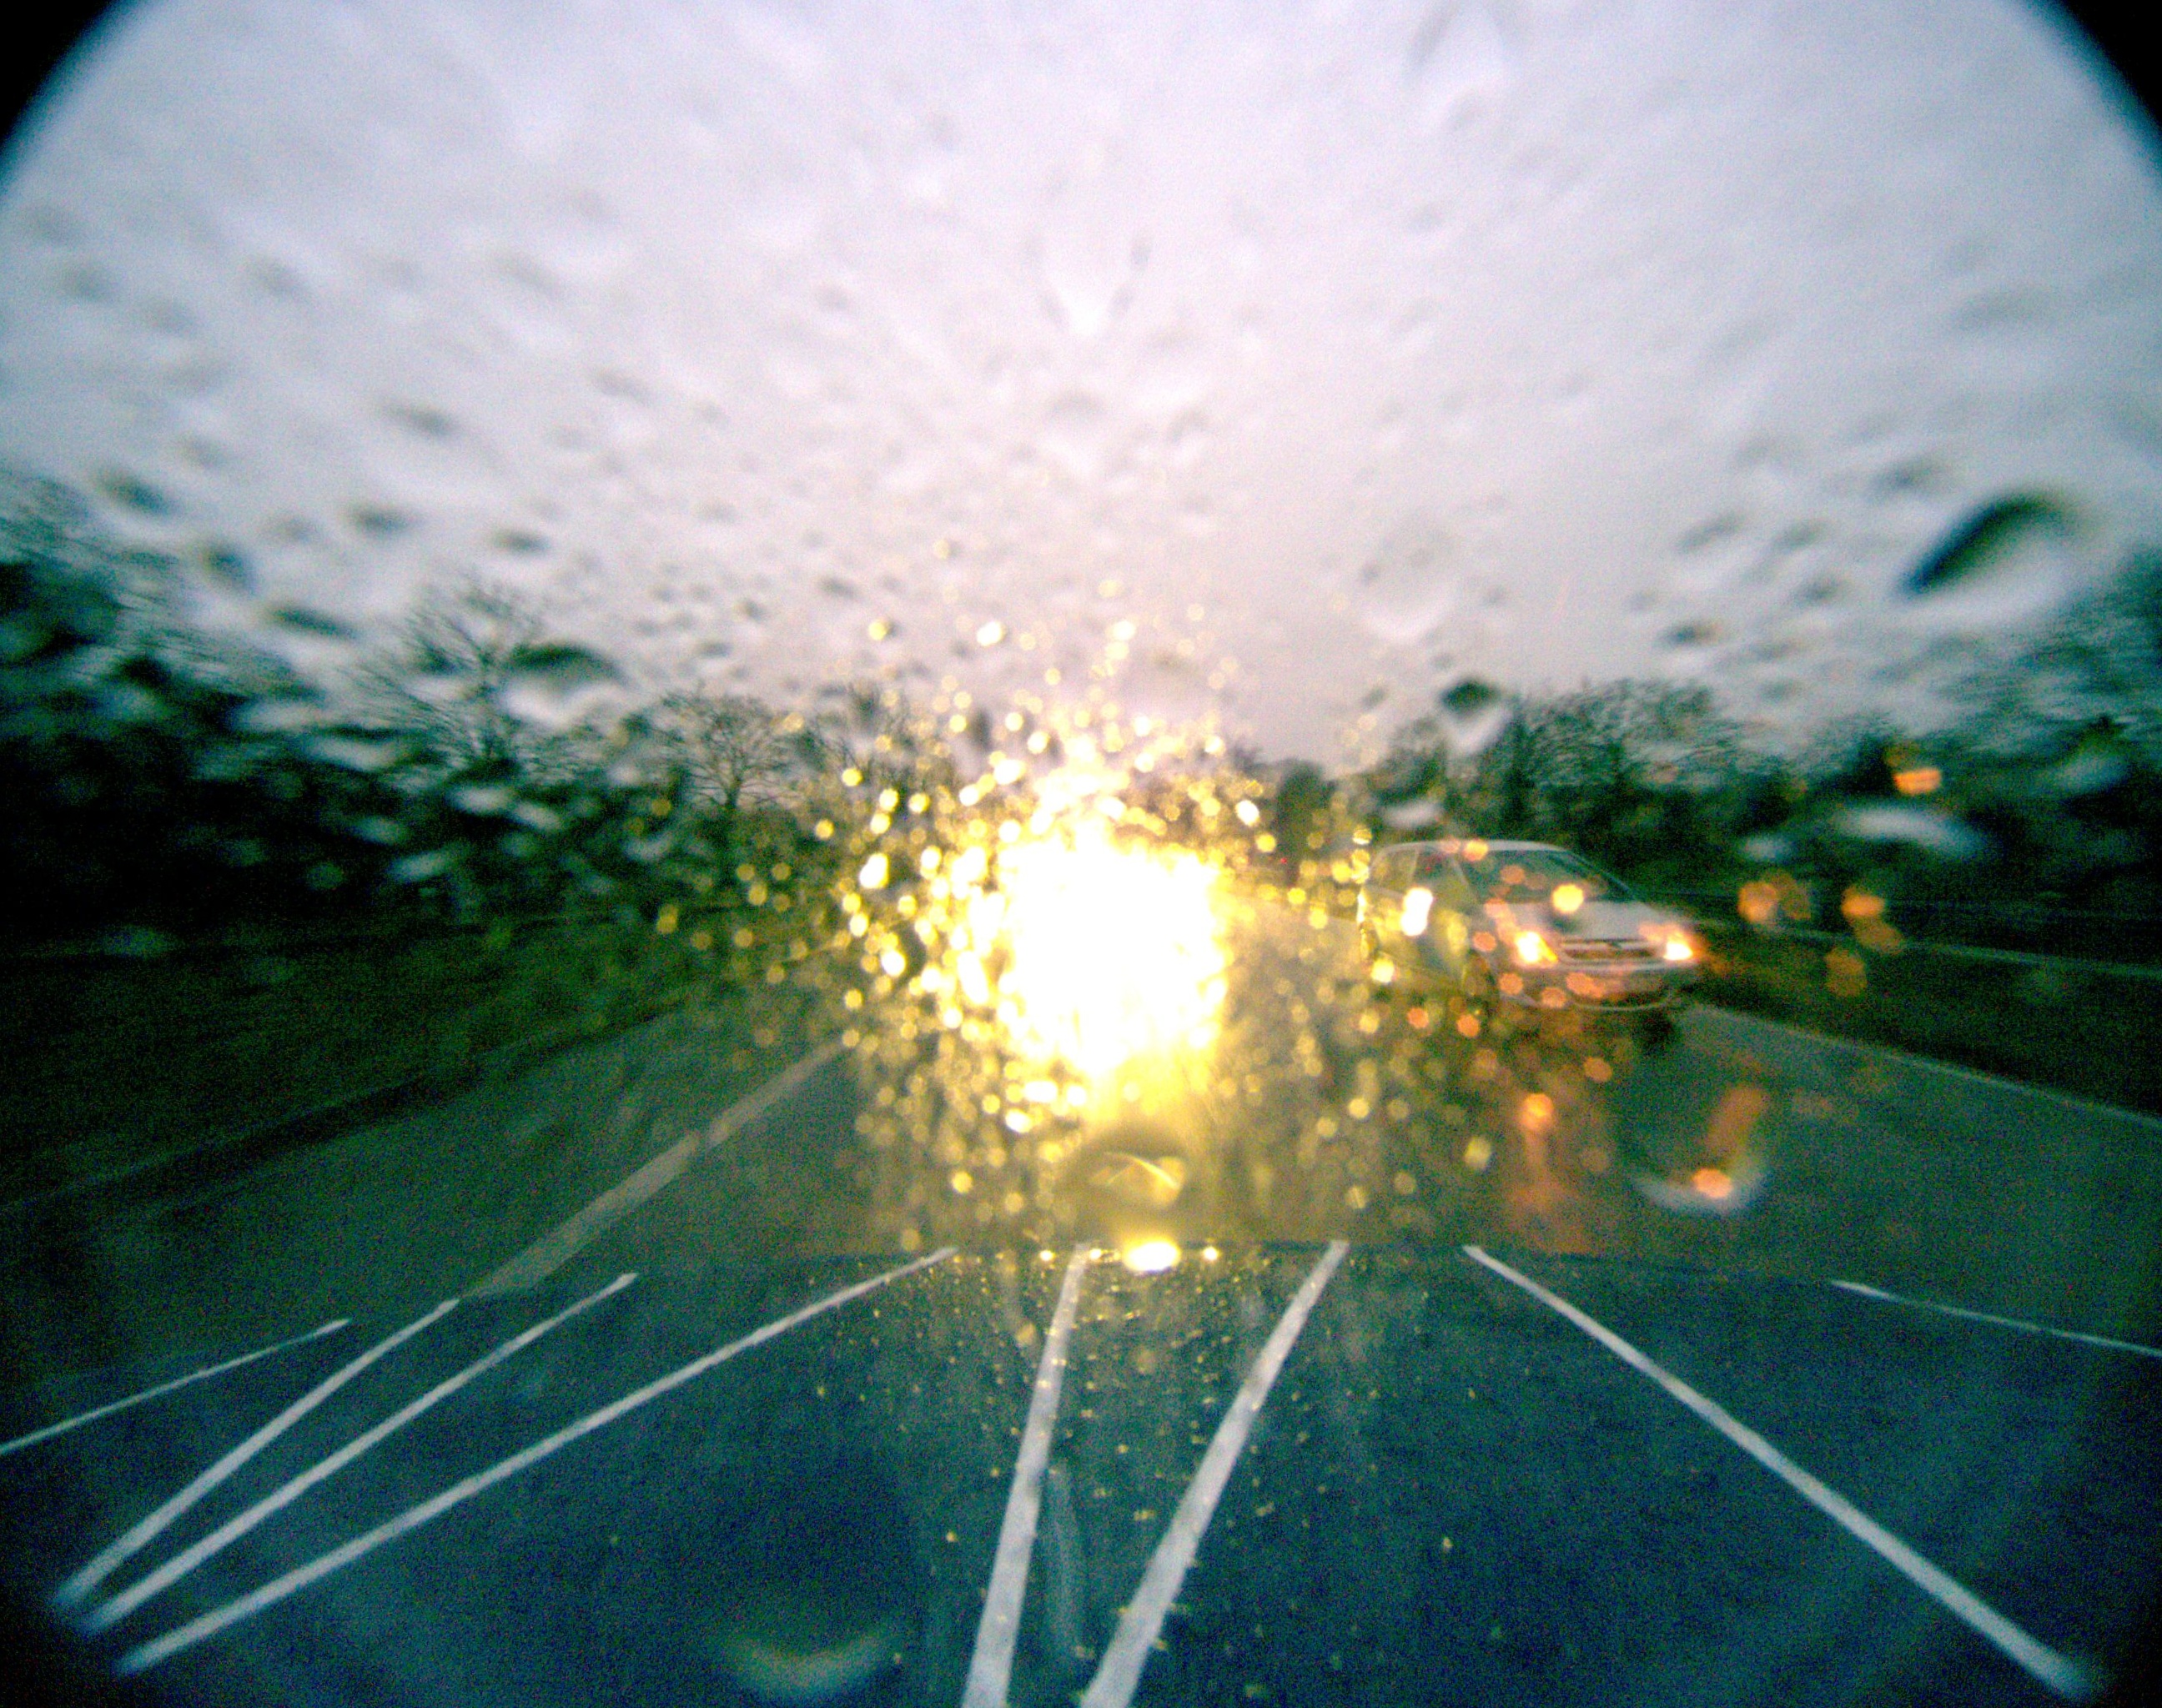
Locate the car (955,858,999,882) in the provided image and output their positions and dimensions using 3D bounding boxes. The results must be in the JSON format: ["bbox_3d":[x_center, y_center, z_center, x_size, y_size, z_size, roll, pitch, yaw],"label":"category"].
[{"bbox_3d":[-6.935,1.056,51.084,1.726,1.426,3.794,-1,1,12],"label":"car"}]

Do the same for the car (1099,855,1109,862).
[{"bbox_3d":[5.403,1.103,177.375,1.999,1.605,3.999,-1,0,-2],"label":"car"}]

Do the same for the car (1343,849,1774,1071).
[{"bbox_3d":[4.226,0.772,7.670,1.766,1.590,4.164,-1,1,1],"label":"car"}]

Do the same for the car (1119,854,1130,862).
[{"bbox_3d":[8.488,0.787,148.292,1.998,1.605,4.000,-1,0,1],"label":"car"}]

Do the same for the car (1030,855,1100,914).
[{"bbox_3d":[-0.388,0.839,22.836,1.830,1.524,4.000,-1,1,3],"label":"car"}]

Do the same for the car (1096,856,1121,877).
[{"bbox_3d":[2.234,0.995,63.231,1.852,1.610,3.950,-2,1,-1],"label":"car"}]

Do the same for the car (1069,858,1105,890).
[{"bbox_3d":[0.358,1.020,40.565,1.728,1.573,3.791,-1,1,3],"label":"car"}]

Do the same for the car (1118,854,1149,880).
[{"bbox_3d":[3.083,0.747,45.422,1.697,1.327,4.000,-2,1,2],"label":"car"}]

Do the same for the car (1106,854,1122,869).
[{"bbox_3d":[3.905,0.831,90.091,1.852,1.610,3.951,-2,1,2],"label":"car"}]

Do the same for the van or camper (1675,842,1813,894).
[{"bbox_3d":[24.713,0.468,28.547,1.653,1.773,4.208,-1,1,3],"label":"van or camper"}]

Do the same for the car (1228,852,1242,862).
[{"bbox_3d":[26.289,0.499,129.729,1.653,1.557,4.597,-1,1,3],"label":"car"}]

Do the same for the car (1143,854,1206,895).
[{"bbox_3d":[3.744,0.783,31.148,2.027,1.521,4.145,-1,1,0],"label":"car"}]
